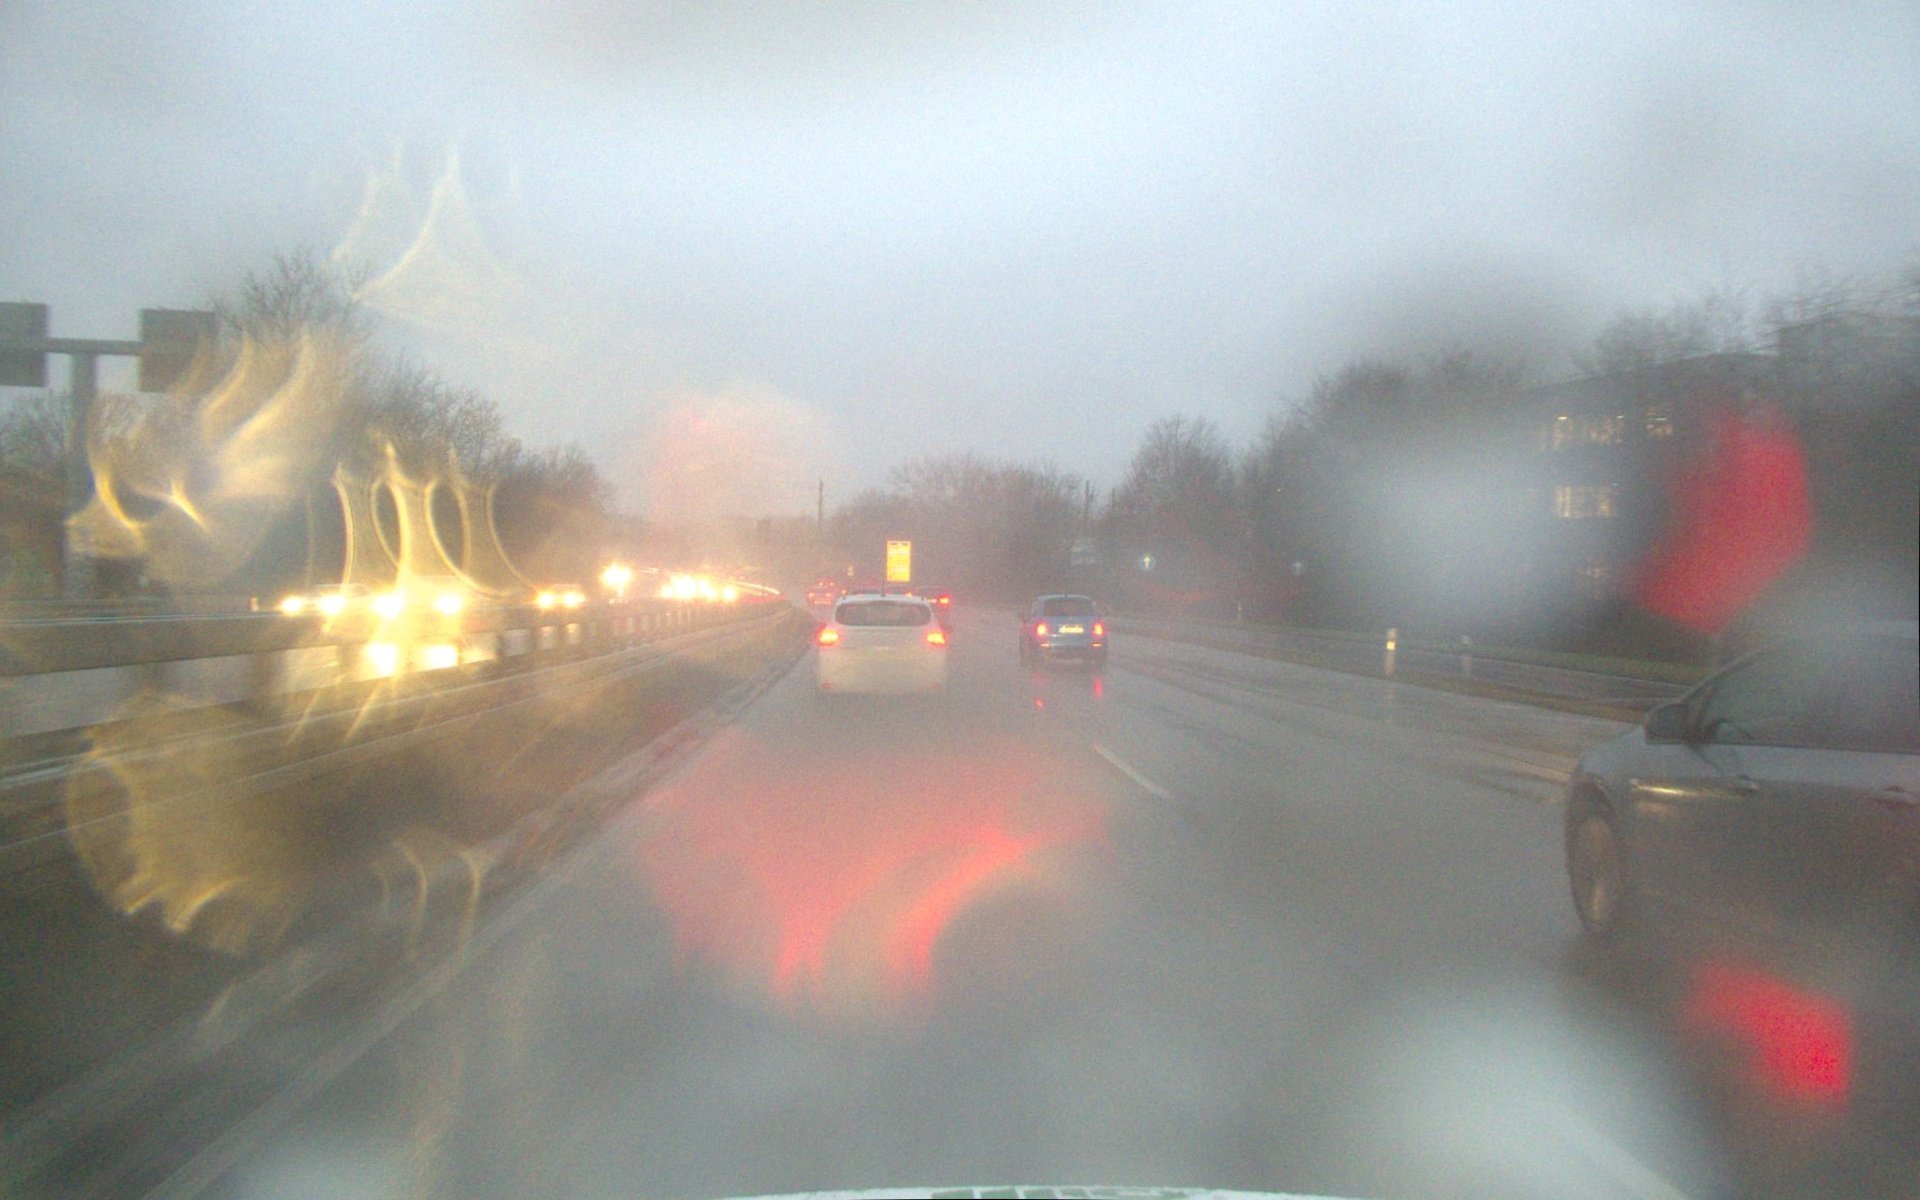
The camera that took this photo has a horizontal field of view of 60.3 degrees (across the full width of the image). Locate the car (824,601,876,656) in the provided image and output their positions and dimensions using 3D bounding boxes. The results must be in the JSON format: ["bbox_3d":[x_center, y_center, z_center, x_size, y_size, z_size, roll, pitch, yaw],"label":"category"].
[{"bbox_3d":[-4.322,1.071,64.968,1.954,2.049,3.996,1,0,-4],"label":"car"}]

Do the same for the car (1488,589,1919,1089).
[{"bbox_3d":[3.771,0.739,6.545,1.812,1.528,4.260,1,0,-3],"label":"car"}]

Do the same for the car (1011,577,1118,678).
[{"bbox_3d":[2.213,0.555,35.847,1.894,2.055,3.771,1,0,-3],"label":"car"}]

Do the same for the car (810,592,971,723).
[{"bbox_3d":[-0.924,0.714,22.639,1.984,1.602,3.999,1,0,-2],"label":"car"}]

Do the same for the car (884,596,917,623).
[{"bbox_3d":[-3.660,0.586,101.352,1.894,1.573,3.771,1,0,-4],"label":"car"}]

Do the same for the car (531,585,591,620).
[{"bbox_3d":[-22.526,0.130,93.543,1.951,1.947,4.448,1,0,6],"label":"car"}]

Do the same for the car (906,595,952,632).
[{"bbox_3d":[-1.510,0.644,78.953,1.895,1.573,3.770,-5,0,-4],"label":"car"}]

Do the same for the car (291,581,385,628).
[{"bbox_3d":[-21.869,0.144,58.314,1.800,1.583,4.353,1,0,-2],"label":"car"}]

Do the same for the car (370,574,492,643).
[{"bbox_3d":[-13.089,0.192,41.145,1.801,1.583,4.352,1,0,-3],"label":"car"}]
